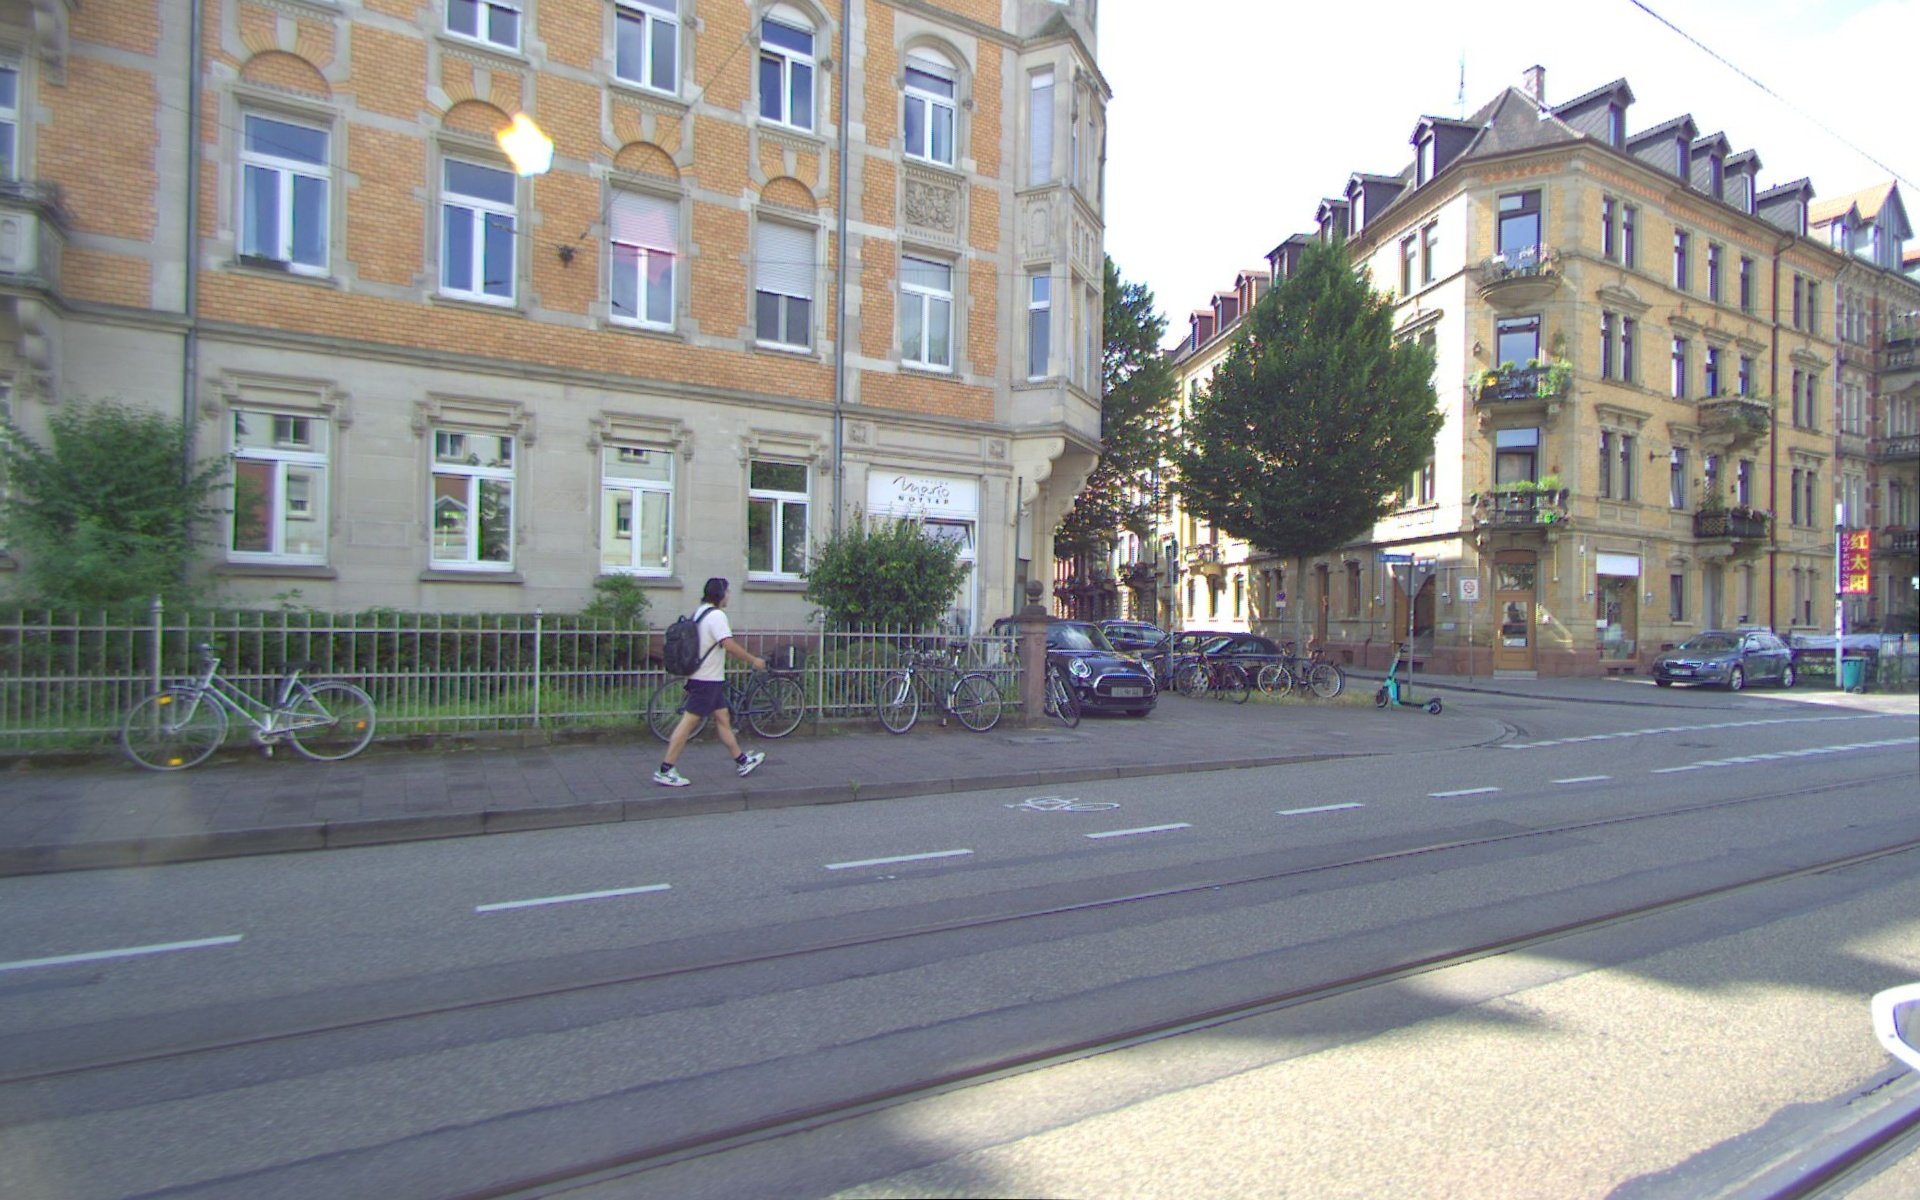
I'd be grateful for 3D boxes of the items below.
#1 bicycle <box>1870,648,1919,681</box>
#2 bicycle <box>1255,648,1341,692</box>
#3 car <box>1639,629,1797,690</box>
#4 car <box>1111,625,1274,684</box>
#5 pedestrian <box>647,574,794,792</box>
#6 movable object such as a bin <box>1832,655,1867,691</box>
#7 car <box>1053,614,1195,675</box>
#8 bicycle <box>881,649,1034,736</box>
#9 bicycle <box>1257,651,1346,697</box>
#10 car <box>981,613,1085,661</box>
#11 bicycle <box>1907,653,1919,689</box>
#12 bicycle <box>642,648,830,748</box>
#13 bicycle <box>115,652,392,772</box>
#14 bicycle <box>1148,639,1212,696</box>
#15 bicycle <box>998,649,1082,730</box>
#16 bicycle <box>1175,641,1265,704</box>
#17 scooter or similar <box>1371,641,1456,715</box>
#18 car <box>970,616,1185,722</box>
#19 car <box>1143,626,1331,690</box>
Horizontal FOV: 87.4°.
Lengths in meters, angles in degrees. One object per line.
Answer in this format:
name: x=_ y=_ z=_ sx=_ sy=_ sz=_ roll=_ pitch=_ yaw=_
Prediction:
bicycle: x=28.527 y=1.931 z=29.986 sx=0.526 sy=0.959 sz=1.949 roll=1 pitch=-1 yaw=-33
bicycle: x=6.847 y=1.408 z=20.360 sx=1.670 sy=0.849 sz=0.523 roll=0 pitch=-1 yaw=-17
car: x=20.219 y=1.543 z=26.742 sx=4.708 sy=1.478 sz=1.678 roll=2 pitch=-2 yaw=-30
car: x=5.878 y=1.383 z=25.631 sx=3.717 sy=1.434 sz=1.643 roll=1 pitch=-1 yaw=-7
pedestrian: x=-2.078 y=0.686 z=8.716 sx=1.093 sy=1.784 sz=0.530 roll=1 pitch=1 yaw=-30
movable object such as a bin: x=23.289 y=1.905 z=26.289 sx=0.629 sy=0.918 sz=0.522 roll=1 pitch=-1 yaw=-31
car: x=4.926 y=1.340 z=30.434 sx=3.926 sy=1.744 sz=1.618 roll=1 pitch=-1 yaw=-7
bicycle: x=-0.005 y=1.104 z=12.275 sx=1.927 sy=0.989 sz=0.419 roll=2 pitch=-1 yaw=-31
bicycle: x=6.677 y=1.442 z=19.640 sx=1.670 sy=0.849 sz=0.523 roll=0 pitch=-1 yaw=-17
car: x=3.297 y=1.666 z=45.616 sx=4.429 sy=2.092 sz=1.895 roll=1 pitch=-1 yaw=-7
bicycle: x=27.144 y=1.979 z=28.033 sx=1.945 sy=0.959 sz=0.527 roll=2 pitch=-1 yaw=-30
bicycle: x=-2.381 y=1.022 z=10.802 sx=1.927 sy=0.989 sz=0.419 roll=2 pitch=-1 yaw=-31
bicycle: x=-6.094 y=0.938 z=8.794 sx=1.927 sy=0.945 sz=0.419 roll=2 pitch=-1 yaw=-31
bicycle: x=4.517 y=1.368 z=20.731 sx=0.516 sy=1.078 sz=1.691 roll=0 pitch=-1 yaw=-19
bicycle: x=1.062 y=1.183 z=13.564 sx=0.399 sy=0.989 sz=1.446 roll=1 pitch=-1 yaw=-29
bicycle: x=4.856 y=1.342 z=18.858 sx=0.519 sy=1.078 sz=1.742 roll=0 pitch=-1 yaw=-34
scooter or similar: x=8.215 y=1.392 z=18.218 sx=1.342 sy=1.251 sz=0.403 roll=1 pitch=0 yaw=33
car: x=1.734 y=1.002 z=15.957 sx=1.762 sy=1.421 sz=3.592 roll=1 pitch=0 yaw=-25
car: x=6.331 y=1.304 z=23.086 sx=3.857 sy=1.378 sz=1.641 roll=1 pitch=-1 yaw=-11
